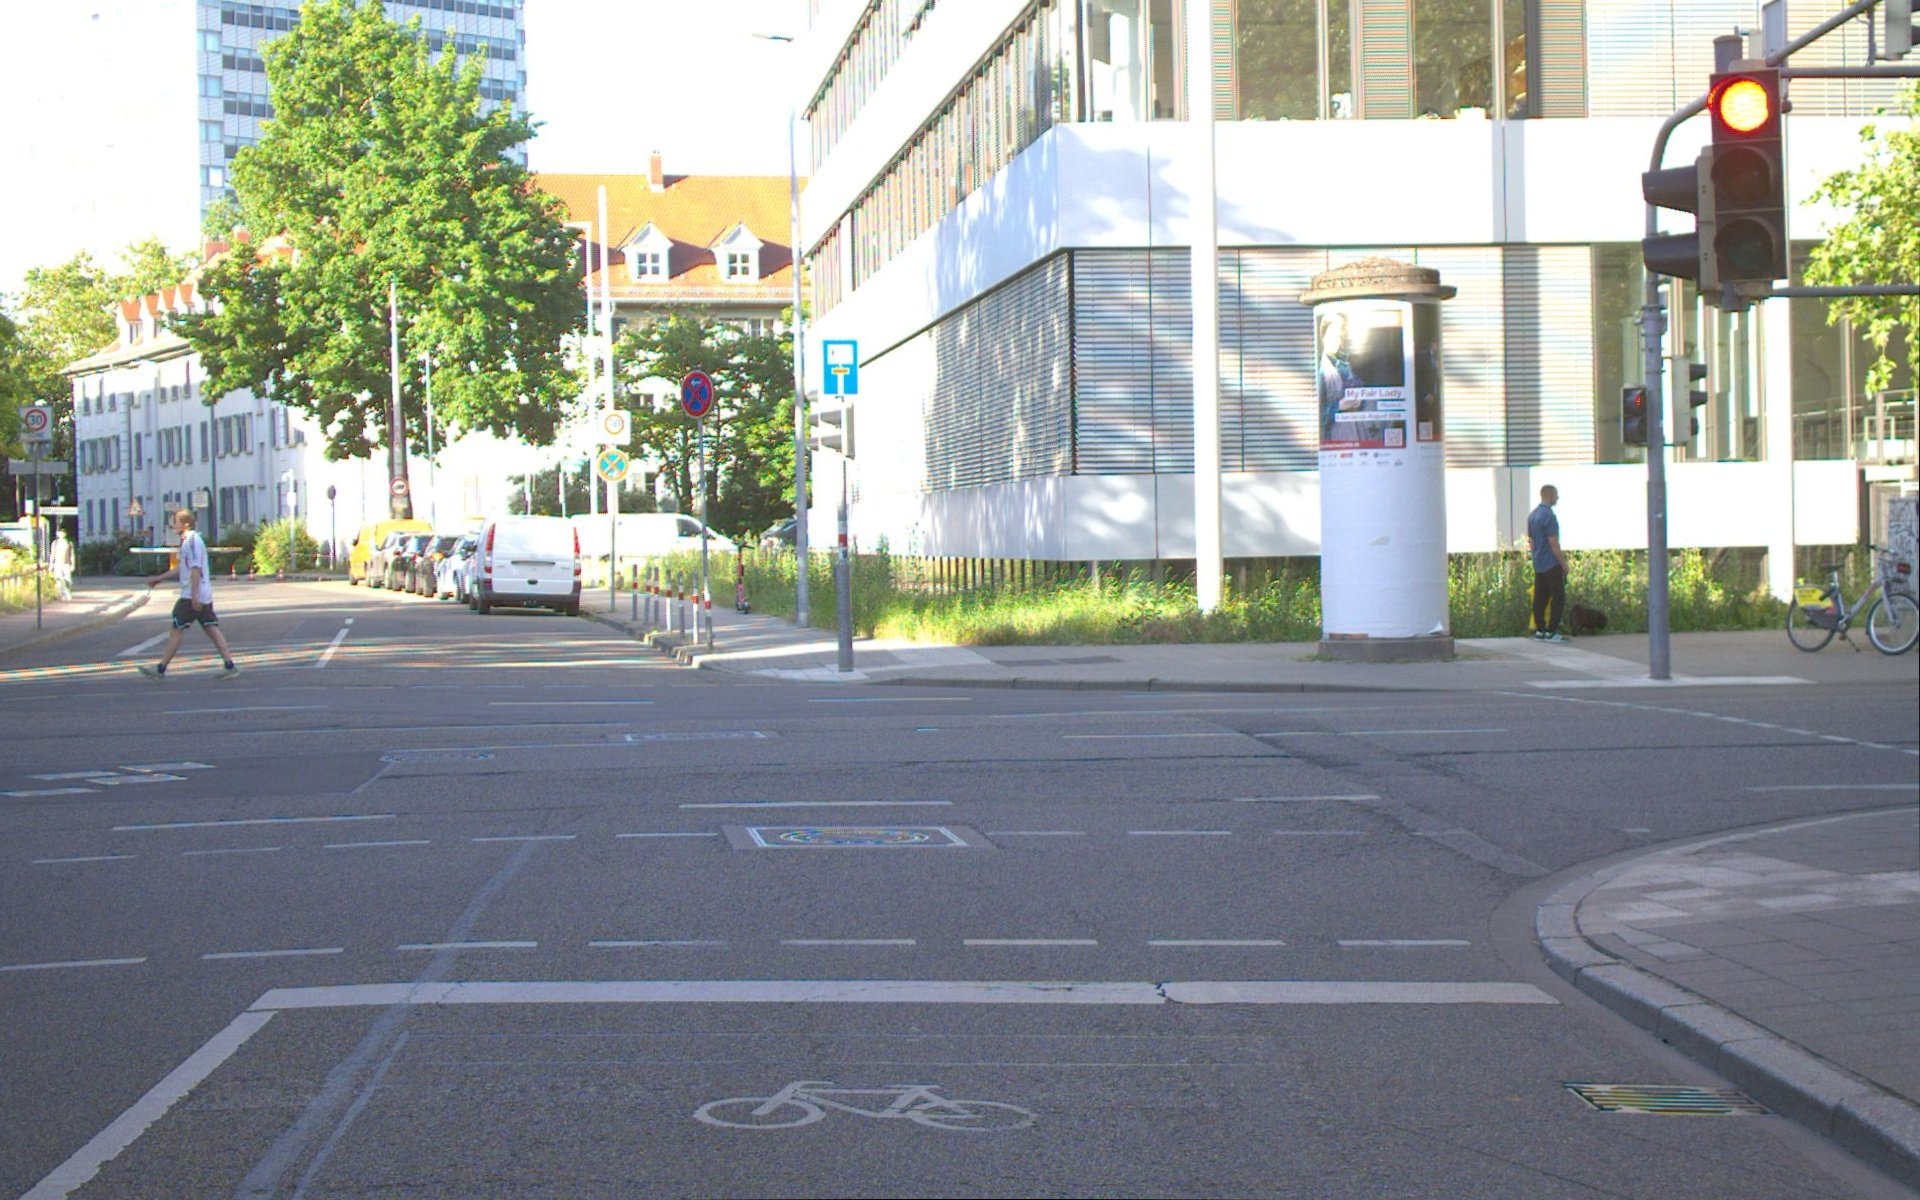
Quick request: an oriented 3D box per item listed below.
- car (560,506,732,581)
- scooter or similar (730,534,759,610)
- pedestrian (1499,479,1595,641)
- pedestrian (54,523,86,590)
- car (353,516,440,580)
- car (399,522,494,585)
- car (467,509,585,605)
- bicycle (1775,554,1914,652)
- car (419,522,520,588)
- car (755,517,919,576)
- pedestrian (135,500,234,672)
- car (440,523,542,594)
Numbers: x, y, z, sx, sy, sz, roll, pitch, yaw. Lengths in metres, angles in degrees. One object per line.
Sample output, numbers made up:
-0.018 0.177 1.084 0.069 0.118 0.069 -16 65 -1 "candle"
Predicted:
-9.396 -1.692 102.918 4.791 2.151 2.001 1 0 -17 "car"
-3.655 -0.485 58.278 0.437 1.252 1.420 -1 1 -4 "scooter or similar"
6.651 -0.455 38.978 0.914 1.809 0.762 1 0 -1 "pedestrian"
-21.162 -1.036 81.710 0.699 1.581 0.637 1 0 -16 "pedestrian"
-15.733 -1.442 95.822 1.993 1.719 4.653 1 1 -14 "car"
-12.874 -1.156 85.966 1.993 1.493 4.653 1 1 -13 "car"
-8.215 -0.810 64.809 1.993 1.719 4.653 1 1 -10 "car"
9.288 0.024 36.134 0.378 1.005 1.432 -2 2 -42 "bicycle"
-11.621 -1.052 81.242 1.993 1.493 4.288 1 1 -13 "car"
-3.749 -1.618 104.761 4.635 1.719 2.001 1 0 -16 "car"
-8.533 -0.152 37.858 0.914 1.862 0.742 1 0 -1 "pedestrian"
-10.500 -0.927 76.795 1.993 1.493 4.653 1 1 -11 "car"
